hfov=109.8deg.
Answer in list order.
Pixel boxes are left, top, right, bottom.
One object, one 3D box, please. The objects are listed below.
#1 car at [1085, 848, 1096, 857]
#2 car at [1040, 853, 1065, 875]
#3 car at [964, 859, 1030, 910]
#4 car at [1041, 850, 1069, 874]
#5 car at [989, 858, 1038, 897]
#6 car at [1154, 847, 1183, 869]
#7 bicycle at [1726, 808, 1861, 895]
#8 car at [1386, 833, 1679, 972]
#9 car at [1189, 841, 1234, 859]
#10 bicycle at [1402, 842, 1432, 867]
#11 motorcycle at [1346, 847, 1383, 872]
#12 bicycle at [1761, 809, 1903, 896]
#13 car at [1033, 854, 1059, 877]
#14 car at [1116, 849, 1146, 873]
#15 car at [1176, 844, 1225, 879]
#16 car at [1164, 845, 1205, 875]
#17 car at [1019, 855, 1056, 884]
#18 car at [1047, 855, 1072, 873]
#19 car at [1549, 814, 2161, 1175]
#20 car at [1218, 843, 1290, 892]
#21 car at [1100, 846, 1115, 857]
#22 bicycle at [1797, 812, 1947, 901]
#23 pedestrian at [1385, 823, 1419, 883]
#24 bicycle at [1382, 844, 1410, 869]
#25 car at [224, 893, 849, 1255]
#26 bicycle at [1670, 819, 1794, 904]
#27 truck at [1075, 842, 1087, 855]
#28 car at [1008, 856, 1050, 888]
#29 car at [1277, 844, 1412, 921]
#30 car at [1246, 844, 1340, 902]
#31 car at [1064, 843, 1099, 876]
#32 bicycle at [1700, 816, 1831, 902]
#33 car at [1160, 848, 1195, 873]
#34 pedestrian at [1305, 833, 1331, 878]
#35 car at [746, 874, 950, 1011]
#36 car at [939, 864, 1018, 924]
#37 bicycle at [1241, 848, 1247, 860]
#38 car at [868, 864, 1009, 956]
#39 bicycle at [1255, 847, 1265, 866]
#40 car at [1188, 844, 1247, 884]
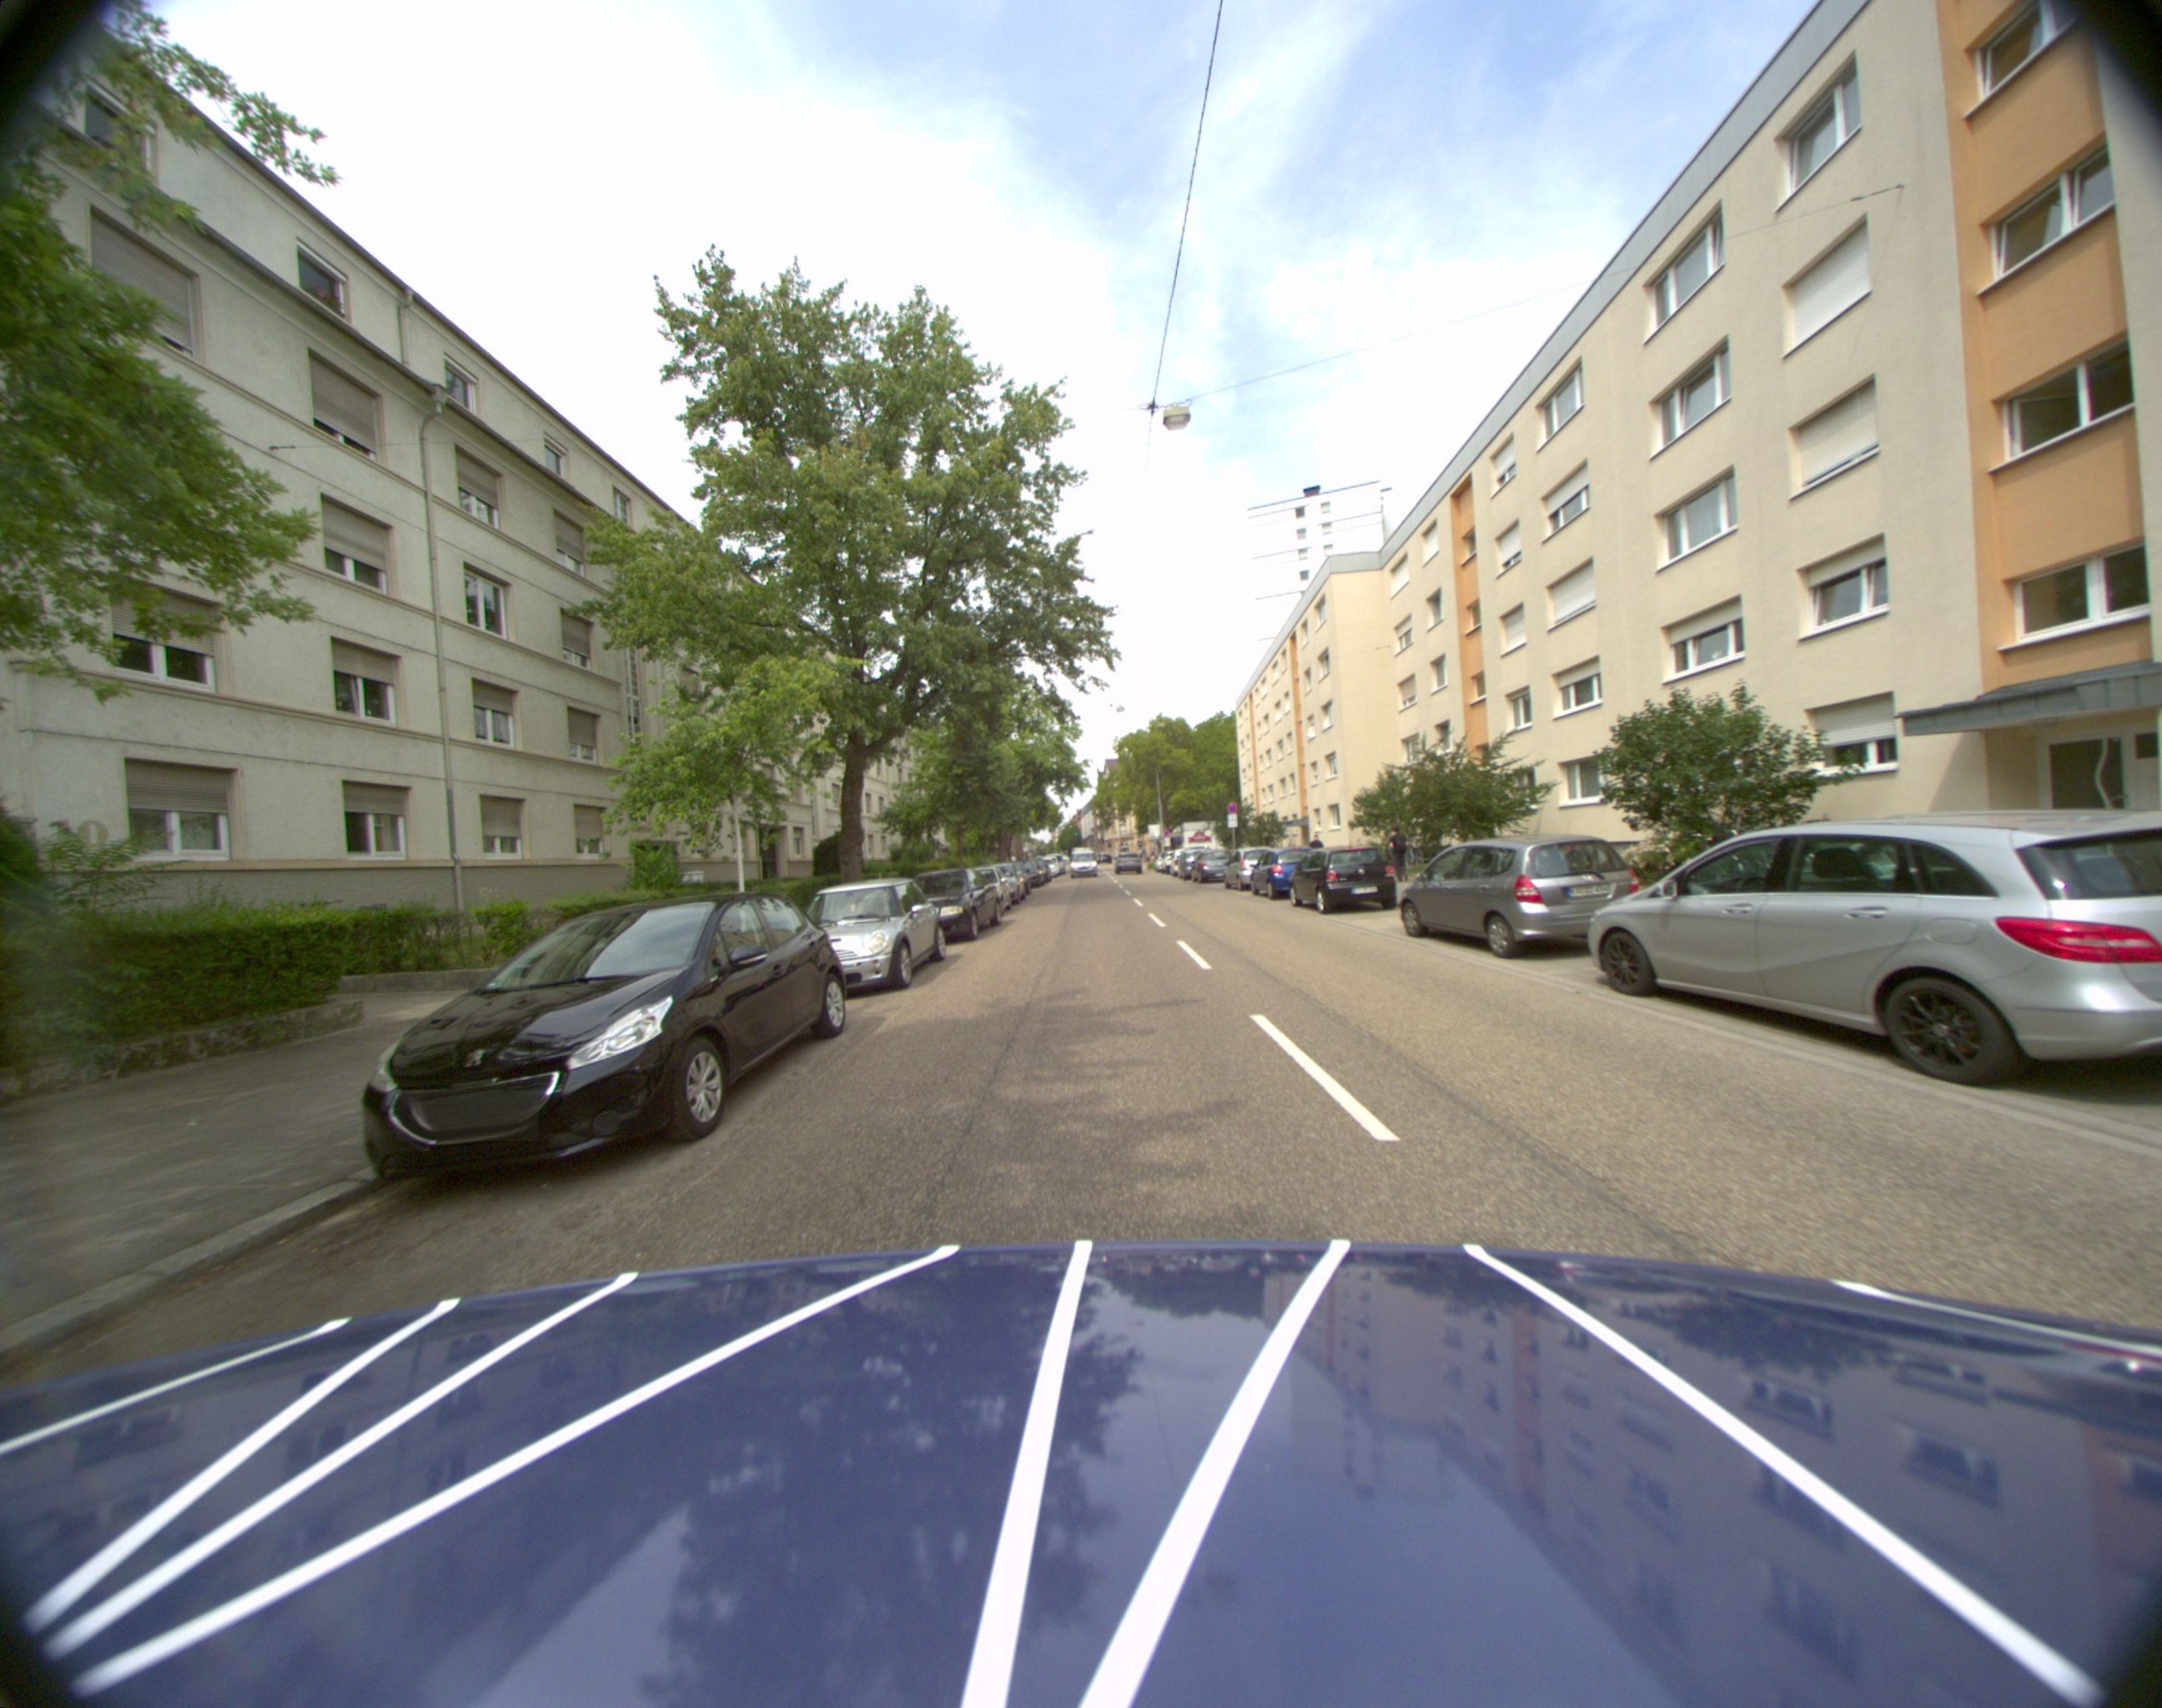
[{"bbox_3d":[1.597,-0.188,129.903,1.848,1.442,4.185,-2,0,1],"label":"car"},{"bbox_3d":[-2.230,0.772,60.378,1.608,1.598,3.805,-5,0,2],"label":"car"},{"bbox_3d":[-2.866,1.013,26.886,1.701,1.461,4.717,-5,0,0],"label":"car"},{"bbox_3d":[-2.197,0.624,65.537,1.922,1.854,4.846,-5,0,2],"label":"car"},{"bbox_3d":[-2.937,0.972,33.863,1.701,1.461,4.753,-5,0,-1],"label":"car"},{"bbox_3d":[6.507,0.278,56.726,1.712,1.464,3.989,-5,0,3],"label":"car"},{"bbox_3d":[12.682,-0.025,13.630,0.463,1.416,2.130,-3,-1,4],"label":"bicycle"},{"bbox_3d":[6.096,0.600,10.908,1.727,1.530,4.005,-3,-1,0],"label":"car"},{"bbox_3d":[14.121,-0.419,82.412,4.640,1.676,1.850,-2,0,7],"label":"car"},{"bbox_3d":[13.882,0.008,31.446,0.441,0.980,1.673,-4,0,1],"label":"bicycle"},{"bbox_3d":[11.847,0.227,31.829,0.663,0.980,2.317,-4,0,1],"label":"motorcycle"},{"bbox_3d":[13.291,-0.013,13.553,0.463,1.416,2.130,-3,-1,4],"label":"bicycle"},{"bbox_3d":[-2.512,0.817,55.700,1.701,1.441,4.100,-4,0,-1],"label":"car"},{"bbox_3d":[3.573,0.492,55.407,1.822,1.576,4.436,-2,0,0],"label":"car"},{"bbox_3d":[6.368,0.360,40.977,1.947,1.603,4.862,-5,0,3],"label":"car"},{"bbox_3d":[6.266,0.328,46.420,1.701,1.603,4.476,-5,0,-1],"label":"car"},{"bbox_3d":[-2.547,0.879,45.414,1.701,1.461,4.101,-5,0,2],"label":"car"},{"bbox_3d":[-1.952,0.909,70.239,1.922,1.436,4.239,-5,0,2],"label":"car"},{"bbox_3d":[5.821,0.605,5.728,1.759,1.570,4.568,-5,0,2],"label":"car"},{"bbox_3d":[6.358,0.472,28.257,1.674,1.552,3.851,-5,0,0],"label":"car"},{"bbox_3d":[3.660,-0.324,105.276,1.956,1.512,4.613,-1,0,1],"label":"car"},{"bbox_3d":[13.877,0.052,13.431,0.463,1.416,2.130,-3,-1,4],"label":"bicycle"},{"bbox_3d":[9.965,-0.042,23.621,0.621,1.802,0.803,-3,1,-2],"label":"pedestrian"},{"bbox_3d":[13.068,0.084,31.543,0.441,0.980,1.616,-4,0,1],"label":"bicycle"},{"bbox_3d":[-3.158,1.137,5.525,1.663,1.460,3.890,-3,-1,0],"label":"car"},{"bbox_3d":[11.578,0.139,13.616,0.463,1.385,2.131,-3,-1,5],"label":"bicycle"},{"bbox_3d":[-0.106,-1.248,180.325,2.548,3.089,7.019,-1,0,-2],"label":"truck"},{"bbox_3d":[-2.690,0.907,40.241,1.701,1.461,4.560,-5,0,2],"label":"car"},{"bbox_3d":[6.044,0.584,17.969,1.822,1.474,4.116,-5,0,2],"label":"car"},{"bbox_3d":[6.308,0.513,23.067,1.822,1.474,3.885,-5,0,3],"label":"car"},{"bbox_3d":[-0.020,0.383,51.364,2.082,2.039,4.679,-3,0,-2],"label":"car"},{"bbox_3d":[12.139,0.095,13.584,0.463,1.404,2.130,-3,-1,4],"label":"bicycle"},{"bbox_3d":[6.498,0.407,51.714,1.713,1.464,3.988,-5,0,-1],"label":"car"},{"bbox_3d":[9.687,0.057,31.064,0.621,1.802,0.899,-4,1,-1],"label":"pedestrian"},{"bbox_3d":[-3.059,1.090,10.791,1.663,1.460,3.726,-3,-1,0],"label":"car"},{"bbox_3d":[-2.904,1.096,22.272,1.674,1.392,3.851,-6,0,0],"label":"car"},{"bbox_3d":[14.780,0.003,68.987,0.412,1.032,1.806,-3,1,10],"label":"bicycle"},{"bbox_3d":[-2.859,1.073,16.396,1.784,1.461,4.615,-5,0,4],"label":"car"},{"bbox_3d":[11.987,0.153,50.916,0.580,1.243,1.935,-4,-1,11],"label":"bicycle"},{"bbox_3d":[6.274,0.413,35.462,1.947,1.603,4.302,-5,0,1],"label":"car"}]
